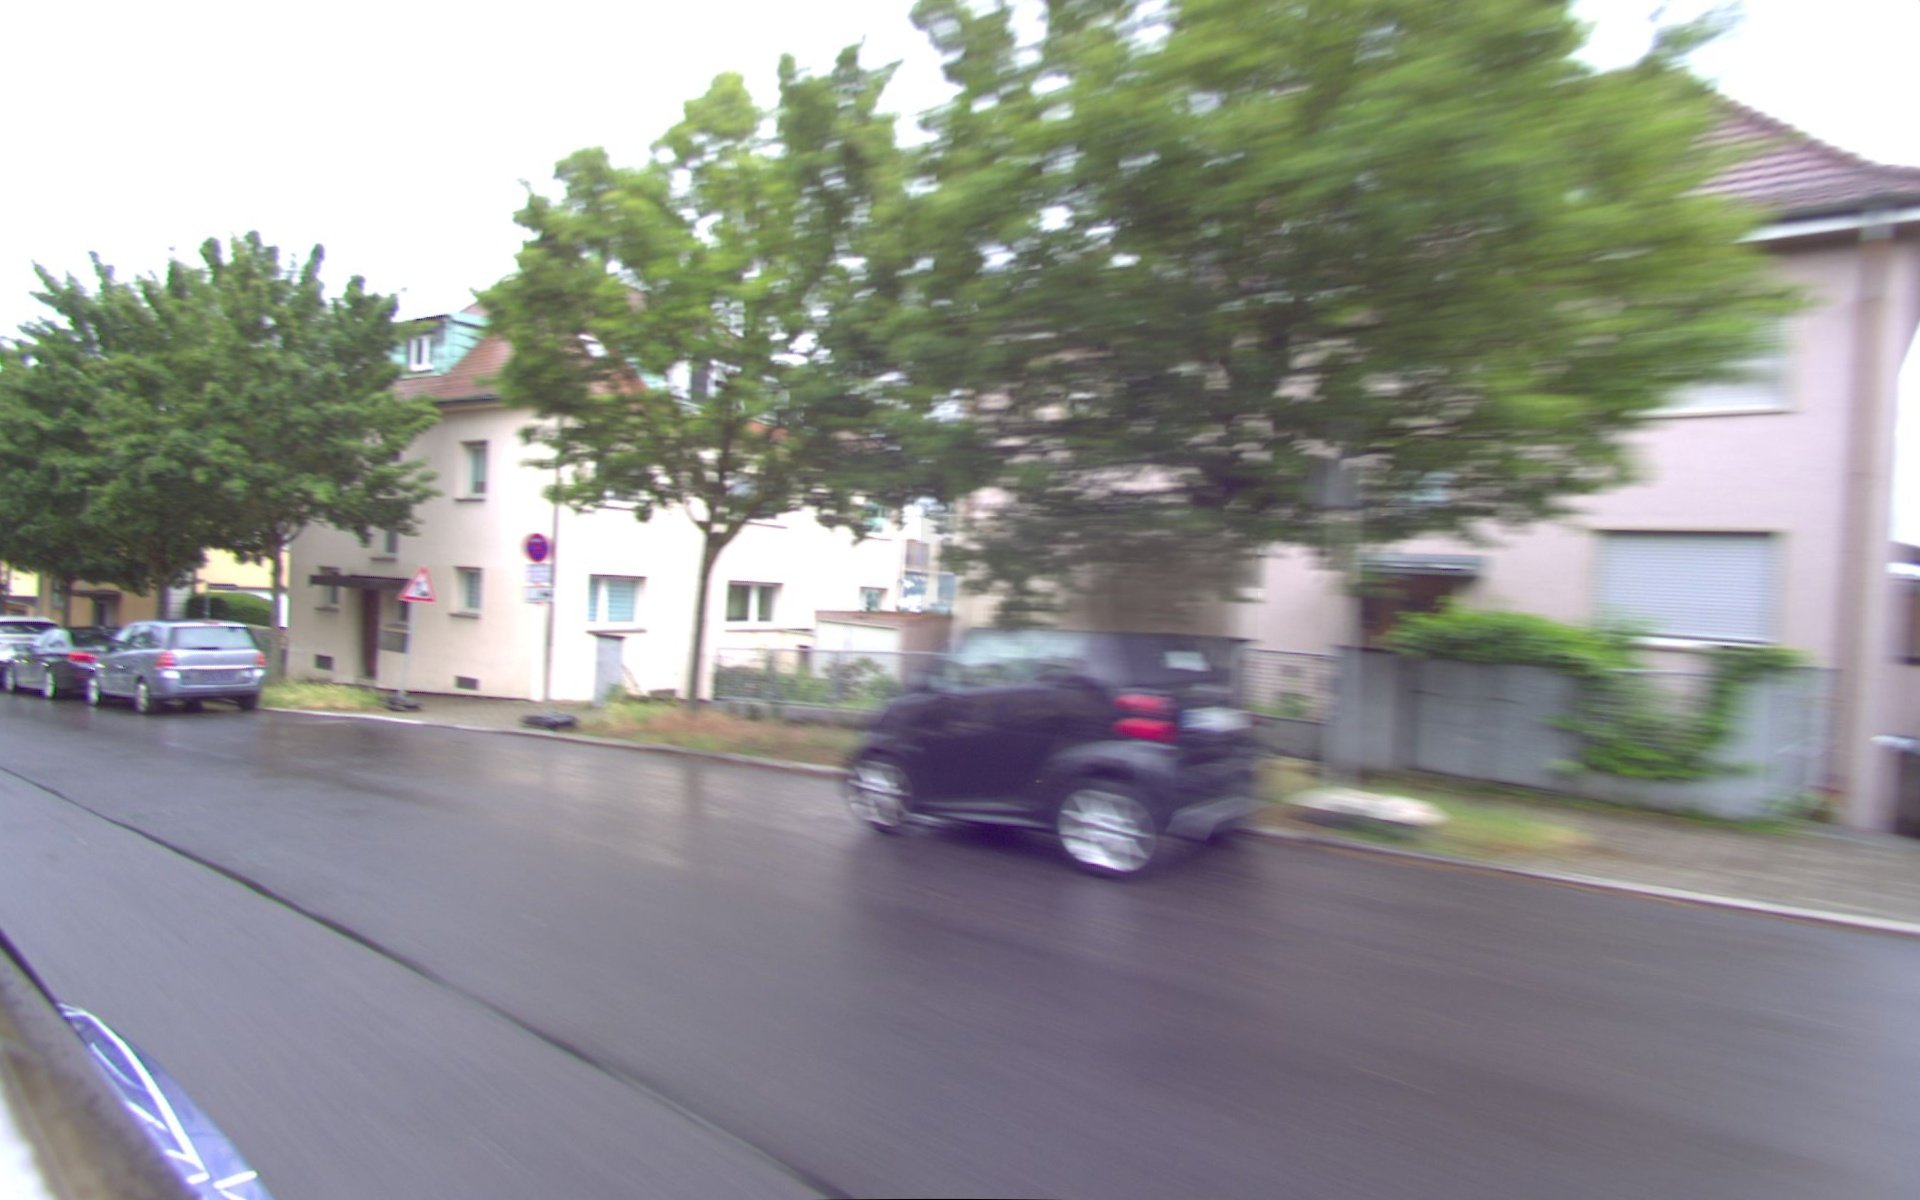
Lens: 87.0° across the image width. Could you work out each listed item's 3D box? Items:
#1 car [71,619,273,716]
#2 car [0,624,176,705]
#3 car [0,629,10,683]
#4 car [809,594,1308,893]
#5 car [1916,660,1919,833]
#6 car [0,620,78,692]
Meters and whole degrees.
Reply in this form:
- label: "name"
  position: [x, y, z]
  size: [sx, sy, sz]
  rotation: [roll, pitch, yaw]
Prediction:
- label: "car"
  position: [-14.493, 1.180, 18.550]
  size: [4.285, 1.557, 1.702]
  rotation: [0, -3, 35]
- label: "car"
  position: [-18.709, 1.300, 21.539]
  size: [4.727, 1.520, 1.806]
  rotation: [0, -2, 35]
- label: "car"
  position: [-28.141, 1.490, 28.160]
  size: [4.258, 1.453, 1.604]
  rotation: [-1, -4, 35]
- label: "car"
  position: [0.576, 0.787, 6.824]
  size: [3.033, 1.546, 1.503]
  rotation: [-1, -3, 40]
- label: "car"
  position: [9.616, 1.441, 8.820]
  size: [1.829, 1.371, 3.874]
  rotation: [0, -8, 44]
- label: "car"
  position: [-23.289, 1.308, 24.574]
  size: [4.500, 1.626, 1.792]
  rotation: [-1, -3, 36]
